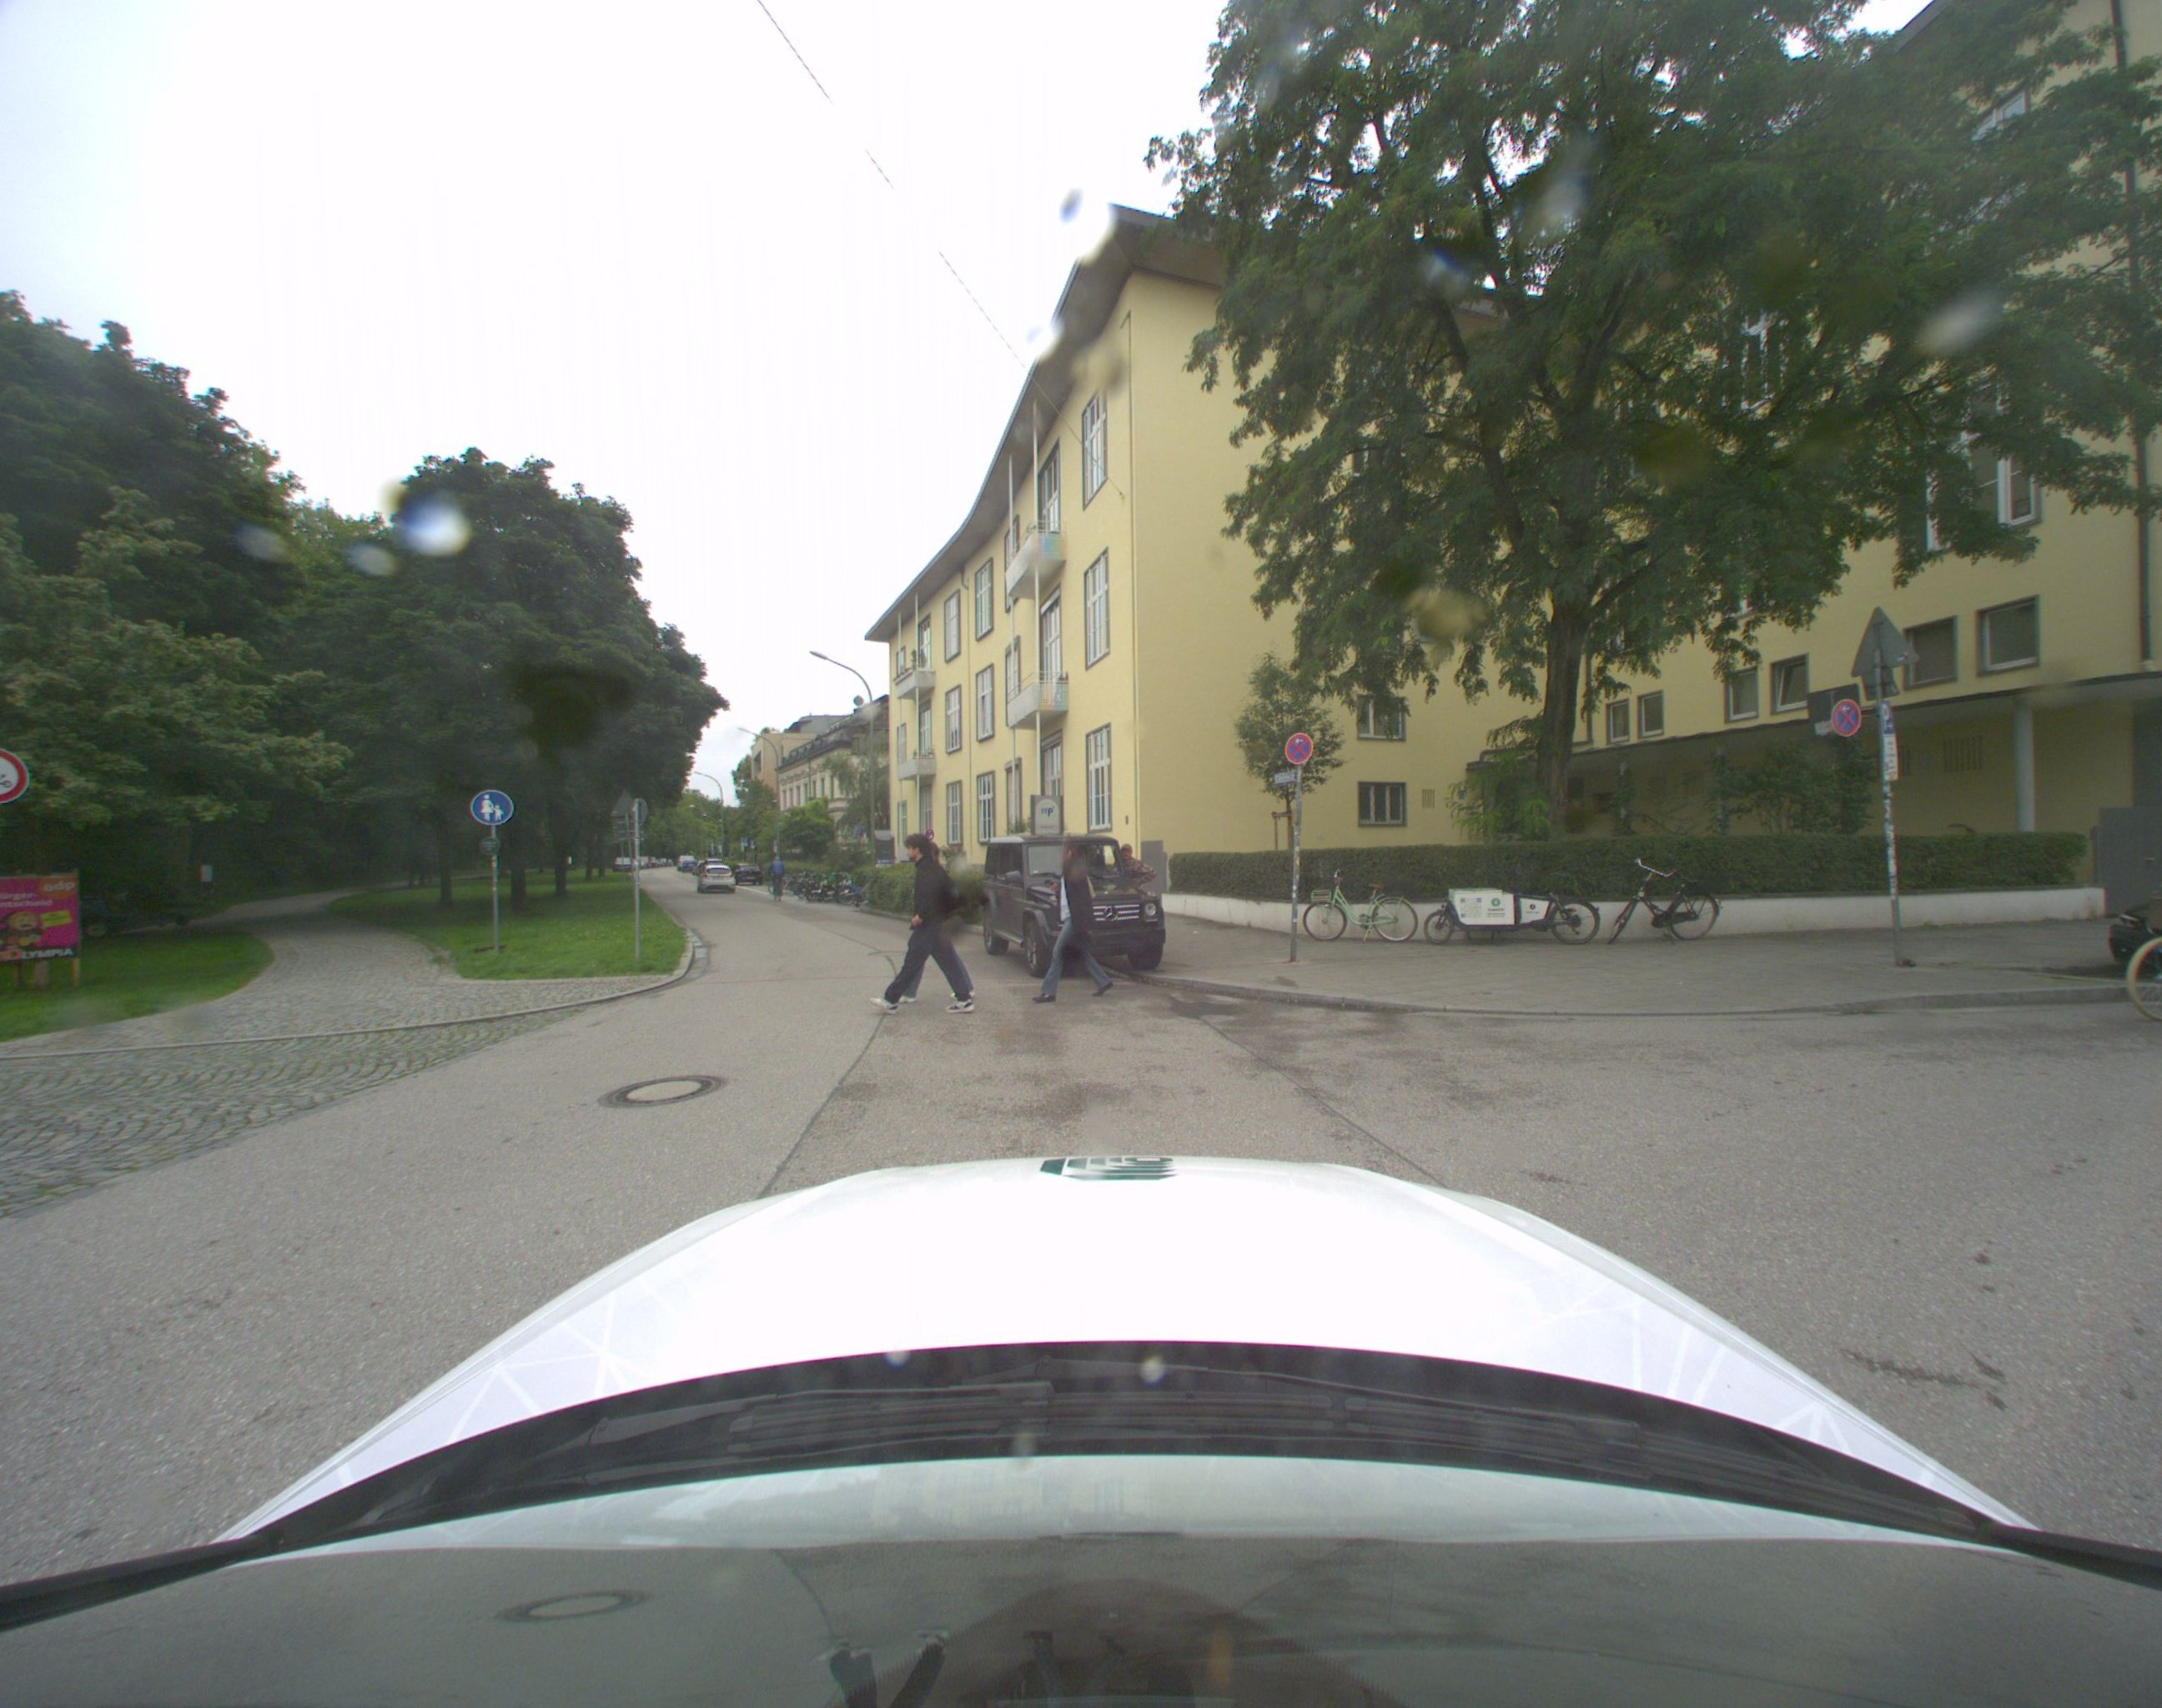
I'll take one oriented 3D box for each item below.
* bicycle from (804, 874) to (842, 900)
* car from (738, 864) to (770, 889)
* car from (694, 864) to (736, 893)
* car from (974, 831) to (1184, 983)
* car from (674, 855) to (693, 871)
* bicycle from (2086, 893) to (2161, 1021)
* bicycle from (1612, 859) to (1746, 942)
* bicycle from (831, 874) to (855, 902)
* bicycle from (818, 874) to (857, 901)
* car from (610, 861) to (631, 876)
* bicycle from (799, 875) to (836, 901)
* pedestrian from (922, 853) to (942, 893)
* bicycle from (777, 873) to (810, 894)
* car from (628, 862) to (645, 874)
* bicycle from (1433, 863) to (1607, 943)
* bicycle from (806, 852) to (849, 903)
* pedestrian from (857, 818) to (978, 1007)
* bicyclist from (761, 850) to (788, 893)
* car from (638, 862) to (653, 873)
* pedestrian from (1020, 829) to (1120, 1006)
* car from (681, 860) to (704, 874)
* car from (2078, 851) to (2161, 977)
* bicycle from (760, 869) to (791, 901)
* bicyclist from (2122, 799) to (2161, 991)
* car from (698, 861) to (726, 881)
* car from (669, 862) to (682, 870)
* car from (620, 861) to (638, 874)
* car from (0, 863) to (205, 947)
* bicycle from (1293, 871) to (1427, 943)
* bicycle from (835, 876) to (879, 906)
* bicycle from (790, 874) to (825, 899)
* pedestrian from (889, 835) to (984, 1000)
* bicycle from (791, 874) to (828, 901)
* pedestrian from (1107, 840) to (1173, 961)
[{"bbox_3d":[-10.741,1.367,33.930,0.404,1.014,1.548,-2,0,35],"label":"bicycle"},{"bbox_3d":[-22.023,1.480,54.792,1.656,1.558,3.527,-1,0,-28],"label":"car"},{"bbox_3d":[-19.358,1.281,43.003,1.757,1.406,3.693,-1,0,-28],"label":"car"},{"bbox_3d":[-0.271,0.670,12.687,1.879,1.887,4.589,-1,0,-19],"label":"car"},{"bbox_3d":[-50.146,1.165,102.609,2.077,1.966,4.933,-1,0,-27],"label":"car"},{"bbox_3d":[9.919,0.852,6.927,1.955,1.024,0.684,-1,0,-2],"label":"bicycle"},{"bbox_3d":[8.628,0.655,11.768,1.680,1.130,0.459,-1,0,-7],"label":"bicycle"},{"bbox_3d":[-9.393,1.331,32.146,0.364,1.014,1.539,-2,0,3],"label":"bicycle"},{"bbox_3d":[-9.920,1.366,33.165,0.362,1.014,1.547,-2,0,40],"label":"bicycle"},{"bbox_3d":[-51.790,1.655,91.550,2.006,1.600,4.424,-1,0,-30],"label":"car"},{"bbox_3d":[-11.106,1.424,34.326,0.404,1.014,1.547,-2,0,31],"label":"bicycle"},{"bbox_3d":[-6.426,0.811,35.138,0.634,1.684,0.692,-2,0,-26],"label":"pedestrian"},{"bbox_3d":[-14.810,1.508,41.935,0.404,1.014,1.547,-2,0,44],"label":"bicycle"},{"bbox_3d":[-65.424,2.056,119.937,2.004,1.600,4.430,-1,0,-25],"label":"car"},{"bbox_3d":[6.425,0.717,12.026,2.154,1.115,0.642,-1,0,11],"label":"bicycle"},{"bbox_3d":[-10.369,0.933,33.399,0.451,2.013,1.688,-2,0,35],"label":"bicycle"},{"bbox_3d":[-1.624,0.573,8.206,0.984,1.809,0.661,-2,-1,7],"label":"pedestrian"},{"bbox_3d":[-12.947,0.741,34.403,0.919,1.764,1.204,-1,0,-28],"label":"bicyclist"},{"bbox_3d":[-71.024,2.174,132.826,2.004,1.600,4.430,-1,0,-25],"label":"car"},{"bbox_3d":[-0.138,0.682,9.164,0.853,1.857,0.762,-2,-1,-19],"label":"pedestrian"},{"bbox_3d":[-45.235,1.486,94.713,2.006,1.600,4.212,-1,0,-31],"label":"car"},{"bbox_3d":[13.934,0.594,8.874,4.312,1.367,1.659,-1,-3,-4],"label":"car"},{"bbox_3d":[-12.861,1.288,34.259,0.926,1.252,2.301,-1,0,-27],"label":"bicycle"},{"bbox_3d":[9.813,0.343,6.932,1.001,1.656,0.696,-1,0,-2],"label":"bicyclist"},{"bbox_3d":[-32.433,1.477,71.494,1.804,1.680,3.961,-1,0,-31],"label":"car"},{"bbox_3d":[-86.565,2.494,173.862,2.001,1.600,4.435,-1,0,-21],"label":"car"},{"bbox_3d":[-59.039,1.812,106.313,2.006,1.600,4.424,-1,0,-30],"label":"car"},{"bbox_3d":[-27.253,1.334,22.320,1.765,2.013,4.024,-2,0,26],"label":"car"},{"bbox_3d":[4.445,0.851,13.073,1.924,1.085,0.532,-4,-2,37],"label":"bicycle"},{"bbox_3d":[-8.387,1.368,30.504,1.543,1.014,0.363,-2,0,-32],"label":"bicycle"},{"bbox_3d":[-12.170,1.430,36.302,0.404,1.014,1.547,-2,0,31],"label":"bicycle"},{"bbox_3d":[-1.580,0.680,9.037,0.822,1.746,0.742,-1,0,6],"label":"pedestrian"},{"bbox_3d":[-11.528,1.412,34.591,0.404,1.014,1.547,-2,0,31],"label":"bicycle"},{"bbox_3d":[0.889,0.689,12.557,0.846,1.757,0.952,-2,0,-4],"label":"pedestrian"}]
